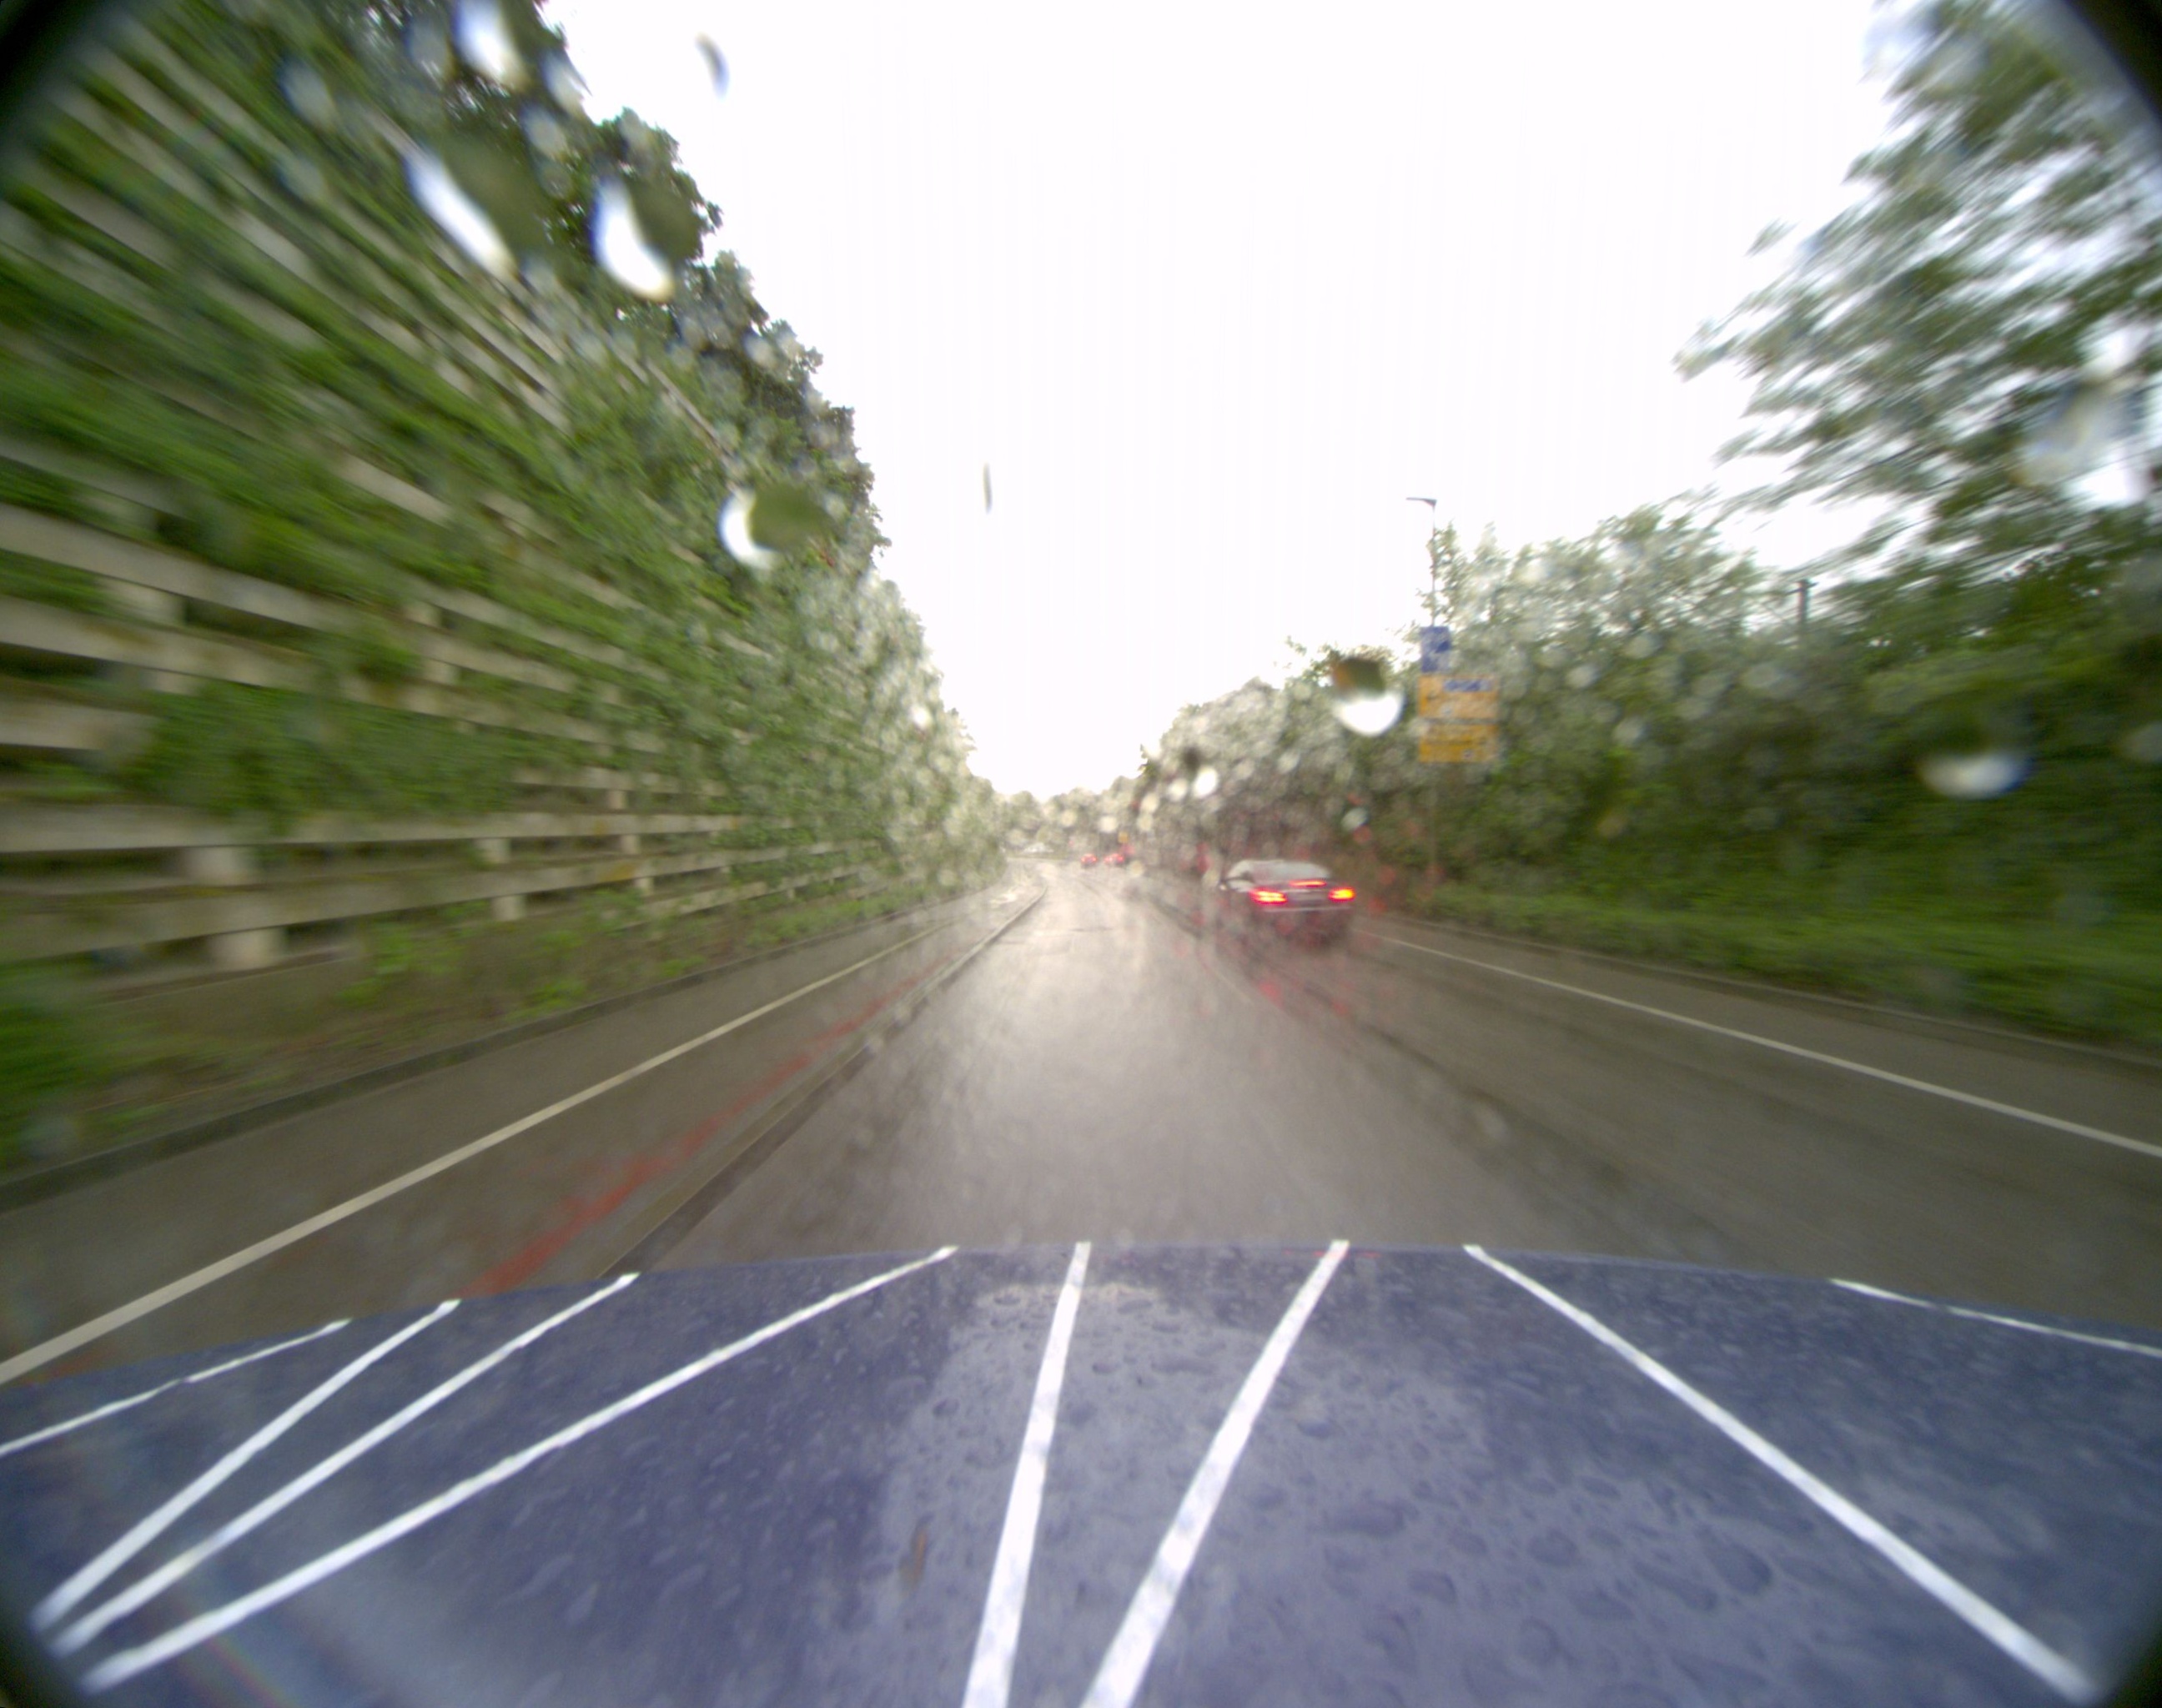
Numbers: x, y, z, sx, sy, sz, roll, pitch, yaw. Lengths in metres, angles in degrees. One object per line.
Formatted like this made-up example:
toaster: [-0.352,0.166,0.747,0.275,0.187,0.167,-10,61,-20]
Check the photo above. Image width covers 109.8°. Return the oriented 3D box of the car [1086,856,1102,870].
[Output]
car: [1.677,1.115,94.462,1.736,1.609,4.000,-1,1,4]

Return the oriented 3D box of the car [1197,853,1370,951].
car: [3.409,0.722,13.723,1.870,1.440,4.376,-1,0,-1]

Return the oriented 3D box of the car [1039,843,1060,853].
car: [-6.635,-1.297,158.489,4.234,1.969,1.903,2,2,-4]

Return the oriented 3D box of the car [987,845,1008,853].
car: [-16.999,-1.040,154.987,3.999,1.565,1.669,2,2,-4]

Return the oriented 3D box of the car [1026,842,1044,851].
car: [-10.703,-1.835,177.640,3.963,1.869,1.692,2,2,-8]

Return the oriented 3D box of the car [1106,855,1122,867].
car: [4.611,0.954,105.375,1.998,1.494,4.729,2,2,4]

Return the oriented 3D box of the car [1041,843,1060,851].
car: [-6.328,-1.396,156.146,3.823,1.559,1.773,2,2,-4]

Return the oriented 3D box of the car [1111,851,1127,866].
car: [4.917,0.559,98.288,1.819,1.648,4.050,2,3,4]
